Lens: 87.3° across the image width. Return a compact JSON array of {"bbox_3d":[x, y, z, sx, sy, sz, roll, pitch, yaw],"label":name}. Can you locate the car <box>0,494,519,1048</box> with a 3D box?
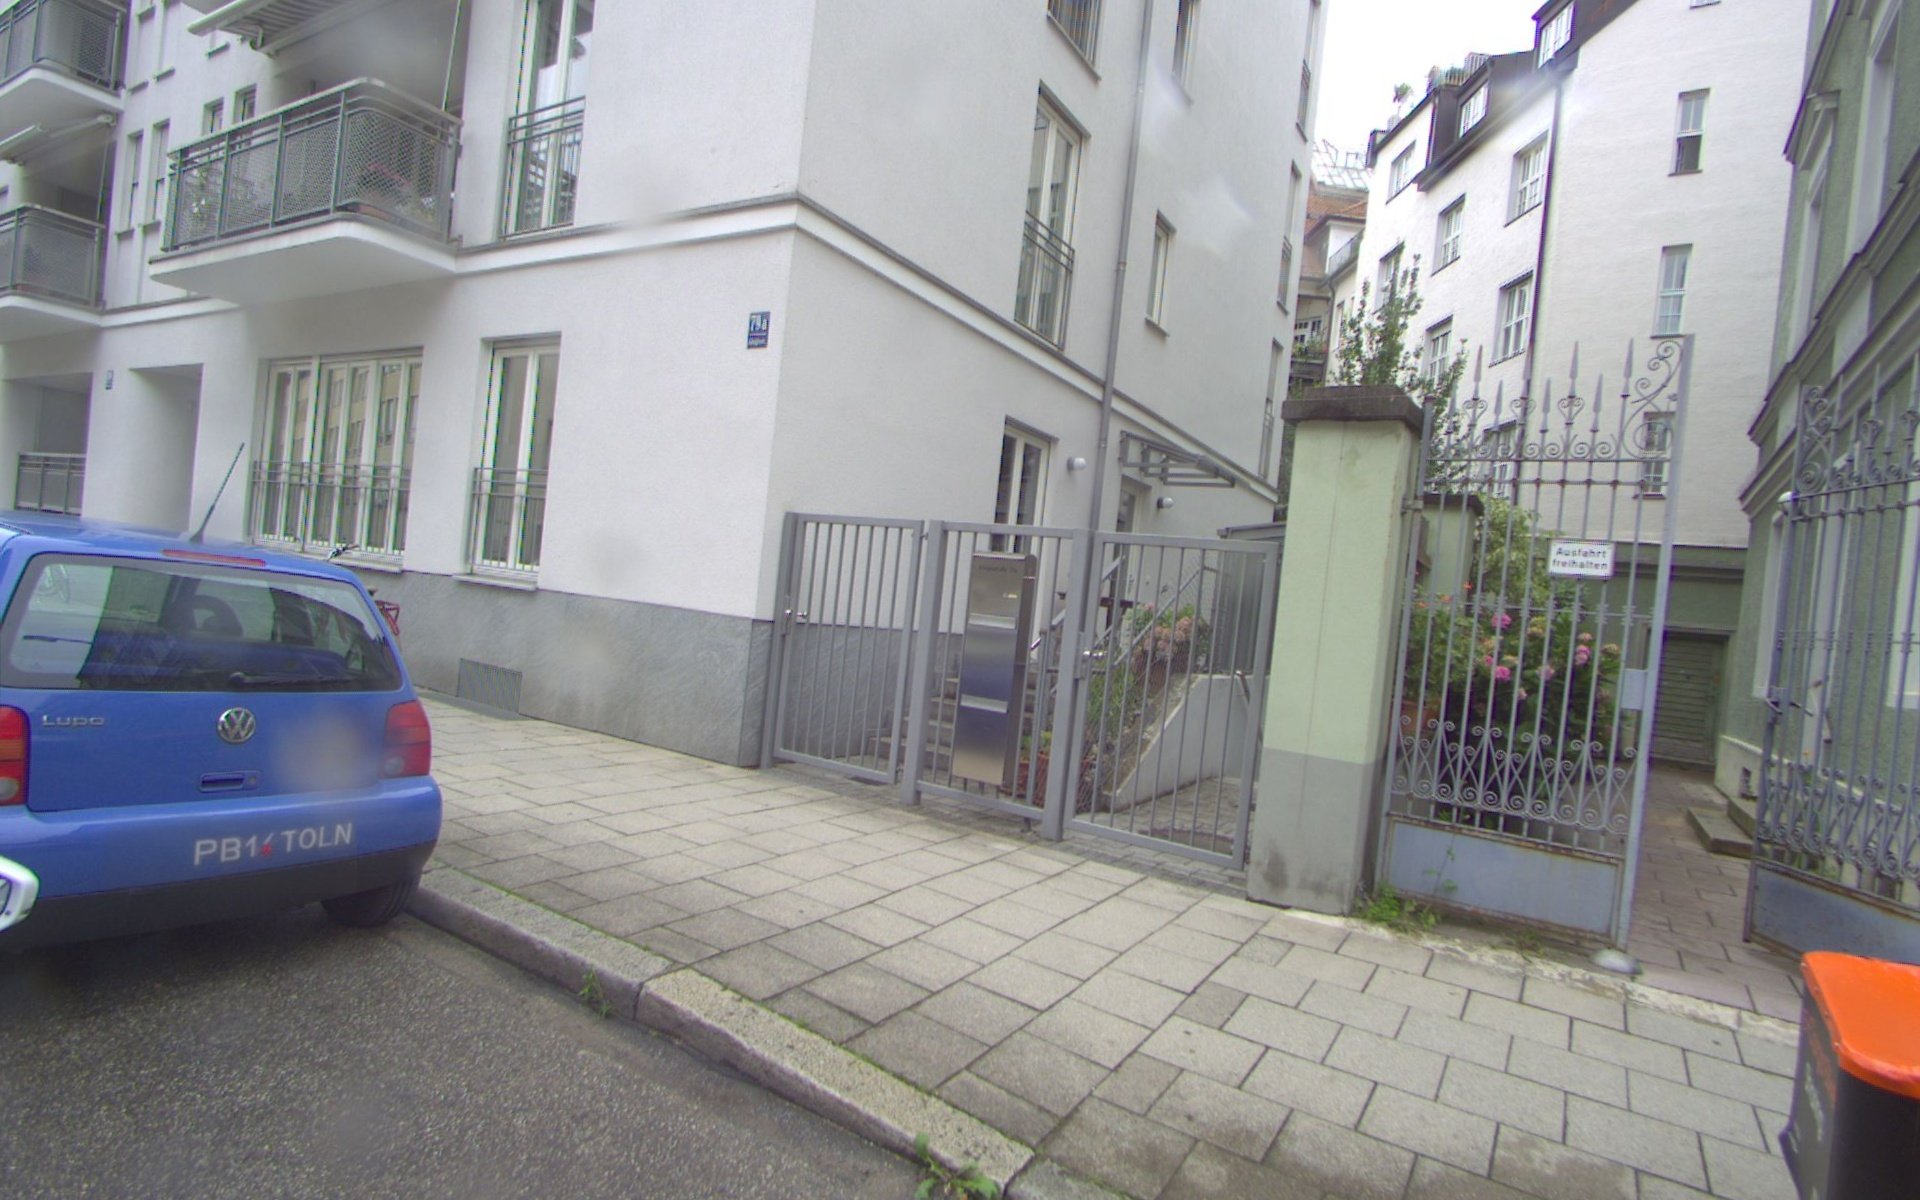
[{"bbox_3d":[-3.655,0.360,3.987,3.494,1.428,1.622,6,-2,30],"label":"car"}]

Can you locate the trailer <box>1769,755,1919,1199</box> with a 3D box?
[{"bbox_3d":[2.793,1.089,1.657,2.131,1.200,0.940,6,4,37],"label":"trailer"}]

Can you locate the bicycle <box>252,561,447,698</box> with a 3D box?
[{"bbox_3d":[-5.475,0.243,8.993,1.804,1.041,0.678,4,0,31],"label":"bicycle"}]

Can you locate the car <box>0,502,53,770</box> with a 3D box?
[{"bbox_3d":[-7.330,-0.064,5.943,4.136,1.456,1.662,6,-2,31],"label":"car"}]

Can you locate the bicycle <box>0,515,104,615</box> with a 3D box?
[{"bbox_3d":[-12.501,-0.501,13.642,2.091,1.175,0.628,6,1,30],"label":"bicycle"}]
